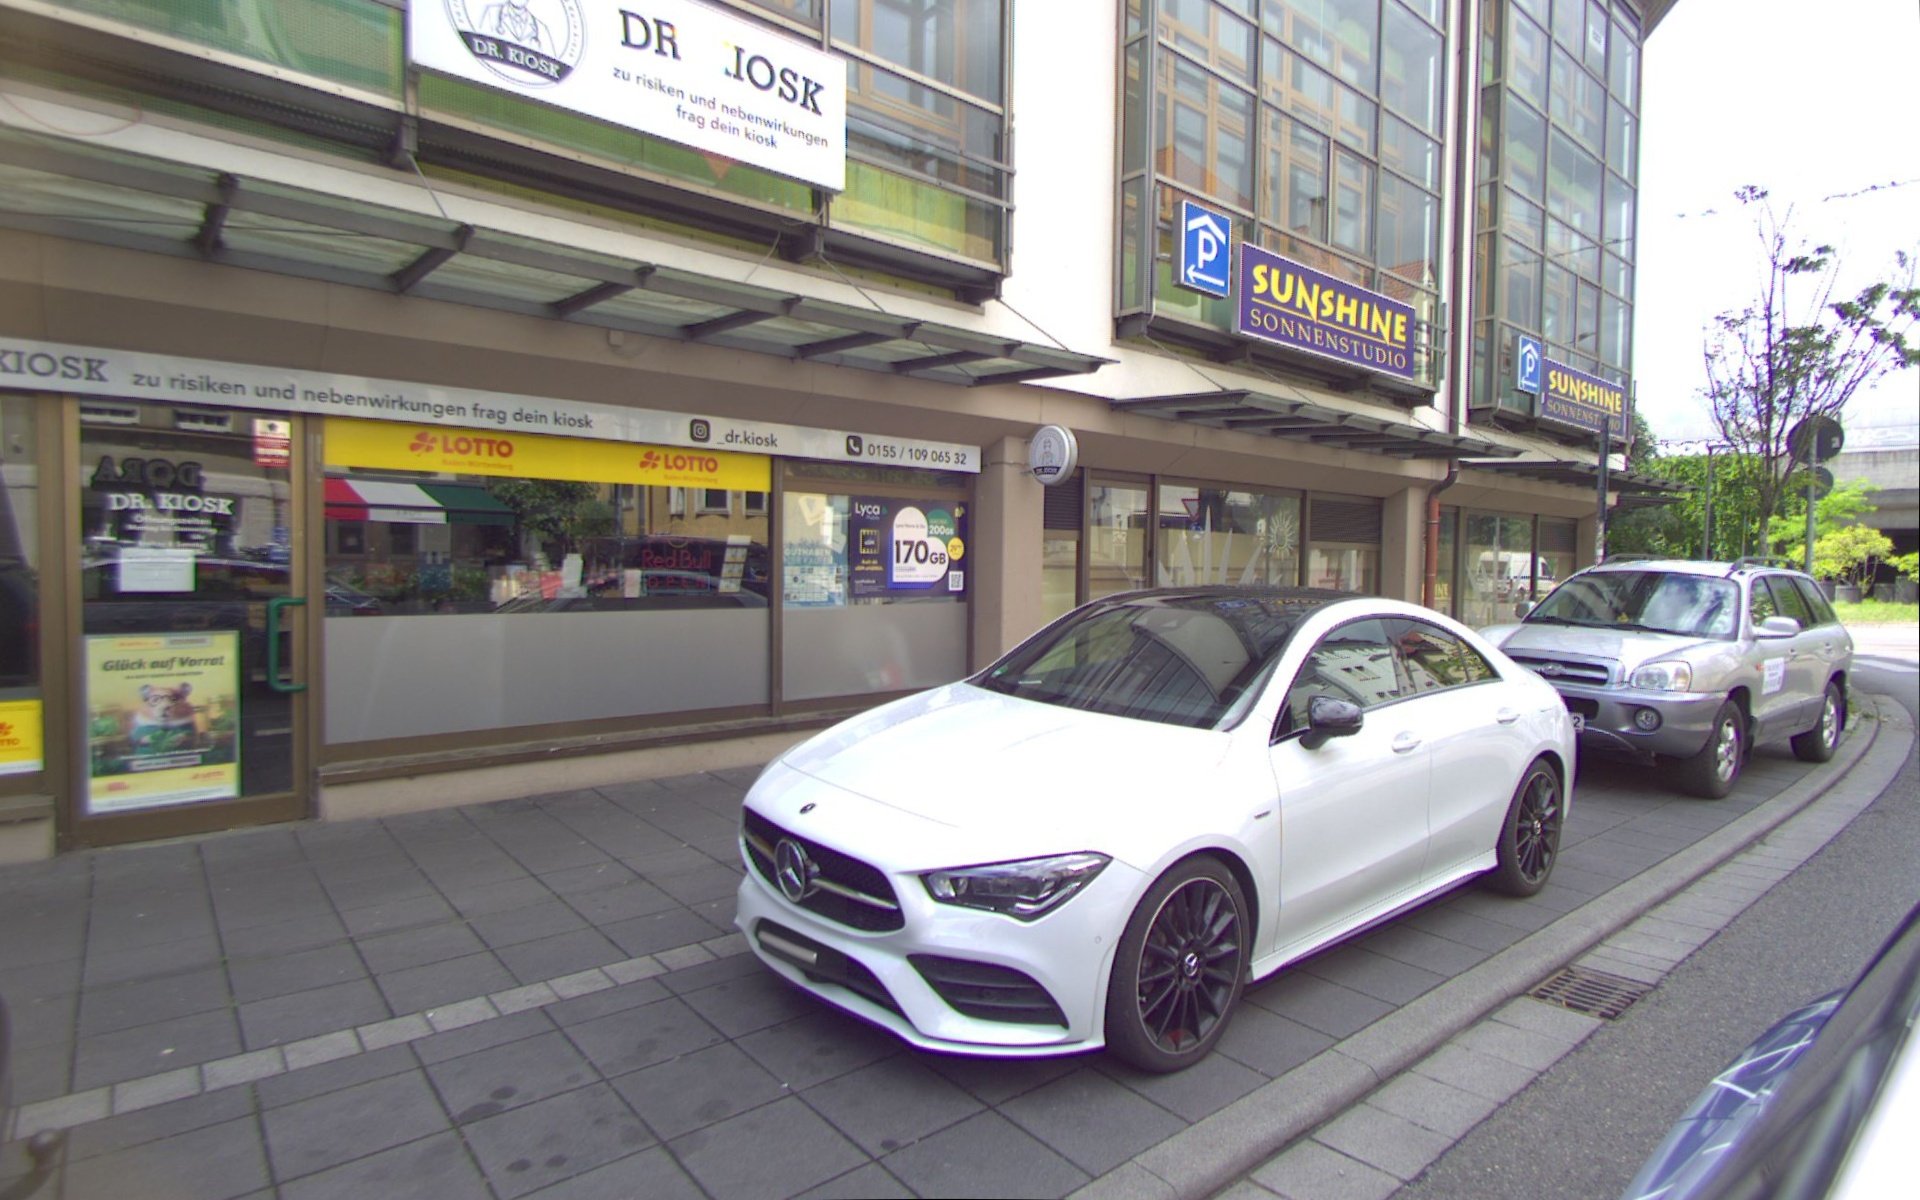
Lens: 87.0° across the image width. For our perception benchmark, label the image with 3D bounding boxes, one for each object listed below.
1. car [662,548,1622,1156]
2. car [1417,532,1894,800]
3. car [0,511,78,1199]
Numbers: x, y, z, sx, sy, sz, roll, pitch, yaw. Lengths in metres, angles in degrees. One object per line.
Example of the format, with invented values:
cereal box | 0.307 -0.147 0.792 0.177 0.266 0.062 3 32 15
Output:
car | 1.153 0.553 4.574 4.455 1.463 1.856 -1 2 -40
car | 5.881 0.342 8.384 4.382 1.681 1.827 -1 4 -36
car | -3.388 0.623 0.397 4.469 1.472 1.719 -1 2 -38
